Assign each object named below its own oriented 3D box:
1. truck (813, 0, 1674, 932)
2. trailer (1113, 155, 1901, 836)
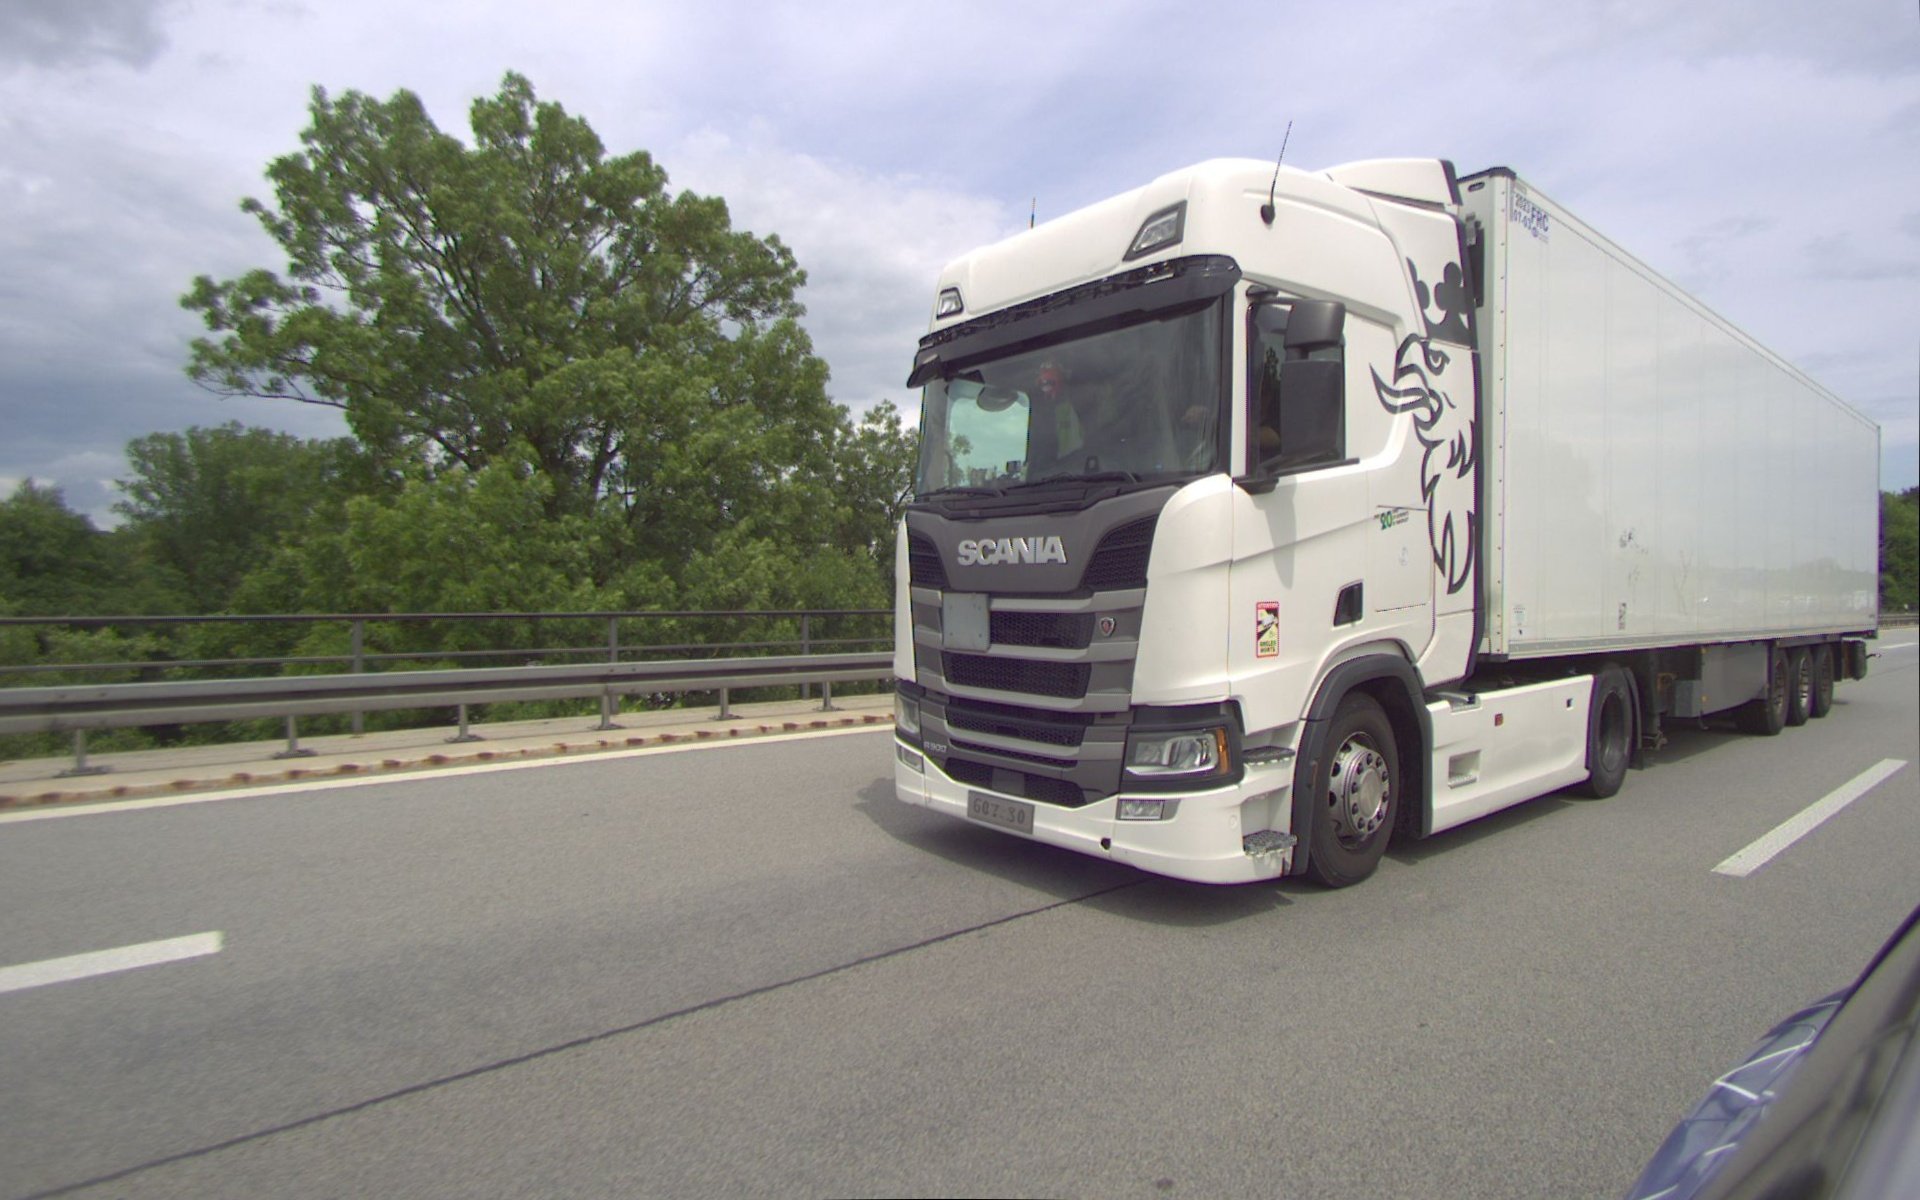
[{"bbox_3d":[2.296,-0.678,7.120,5.893,3.941,3.068,0,0,-40],"label":"truck"},{"bbox_3d":[7.398,-0.654,11.403,13.545,3.940,3.068,0,0,-40],"label":"trailer"}]
